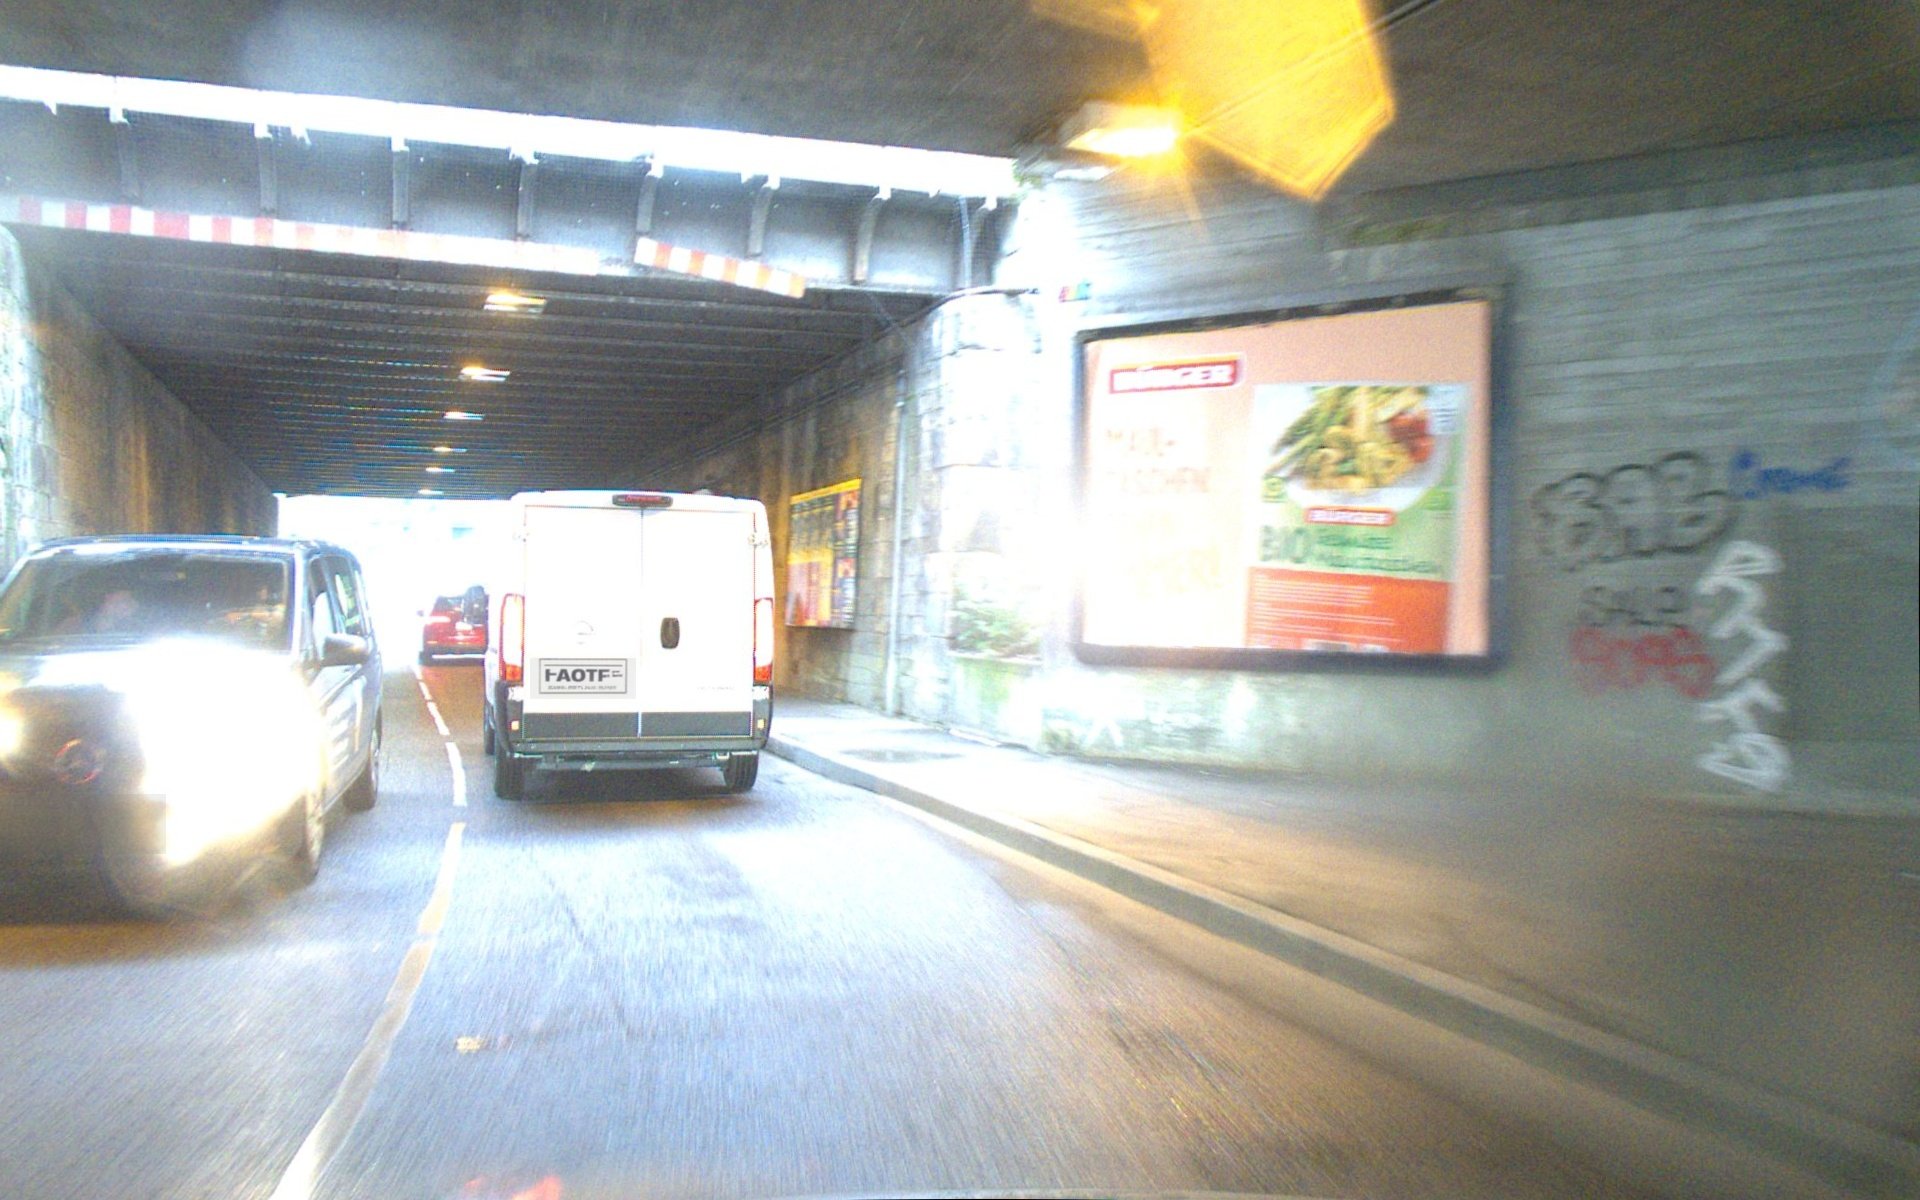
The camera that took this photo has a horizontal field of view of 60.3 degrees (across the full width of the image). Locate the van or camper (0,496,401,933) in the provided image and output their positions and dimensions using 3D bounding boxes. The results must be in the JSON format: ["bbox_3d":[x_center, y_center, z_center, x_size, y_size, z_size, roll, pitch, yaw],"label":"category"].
[{"bbox_3d":[-4.544,0.500,9.749,1.960,1.901,5.119,-1,0,-15],"label":"van or camper"}]

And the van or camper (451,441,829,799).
[{"bbox_3d":[-2.941,0.179,14.122,2.656,2.459,4.879,0,-1,-17],"label":"van or camper"}]

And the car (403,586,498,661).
[{"bbox_3d":[-10.832,0.451,35.183,1.807,1.463,4.083,-1,0,-17],"label":"car"}]

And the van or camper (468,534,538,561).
[{"bbox_3d":[-35.905,-4.099,130.113,5.219,2.049,2.070,0,1,-15],"label":"van or camper"}]
